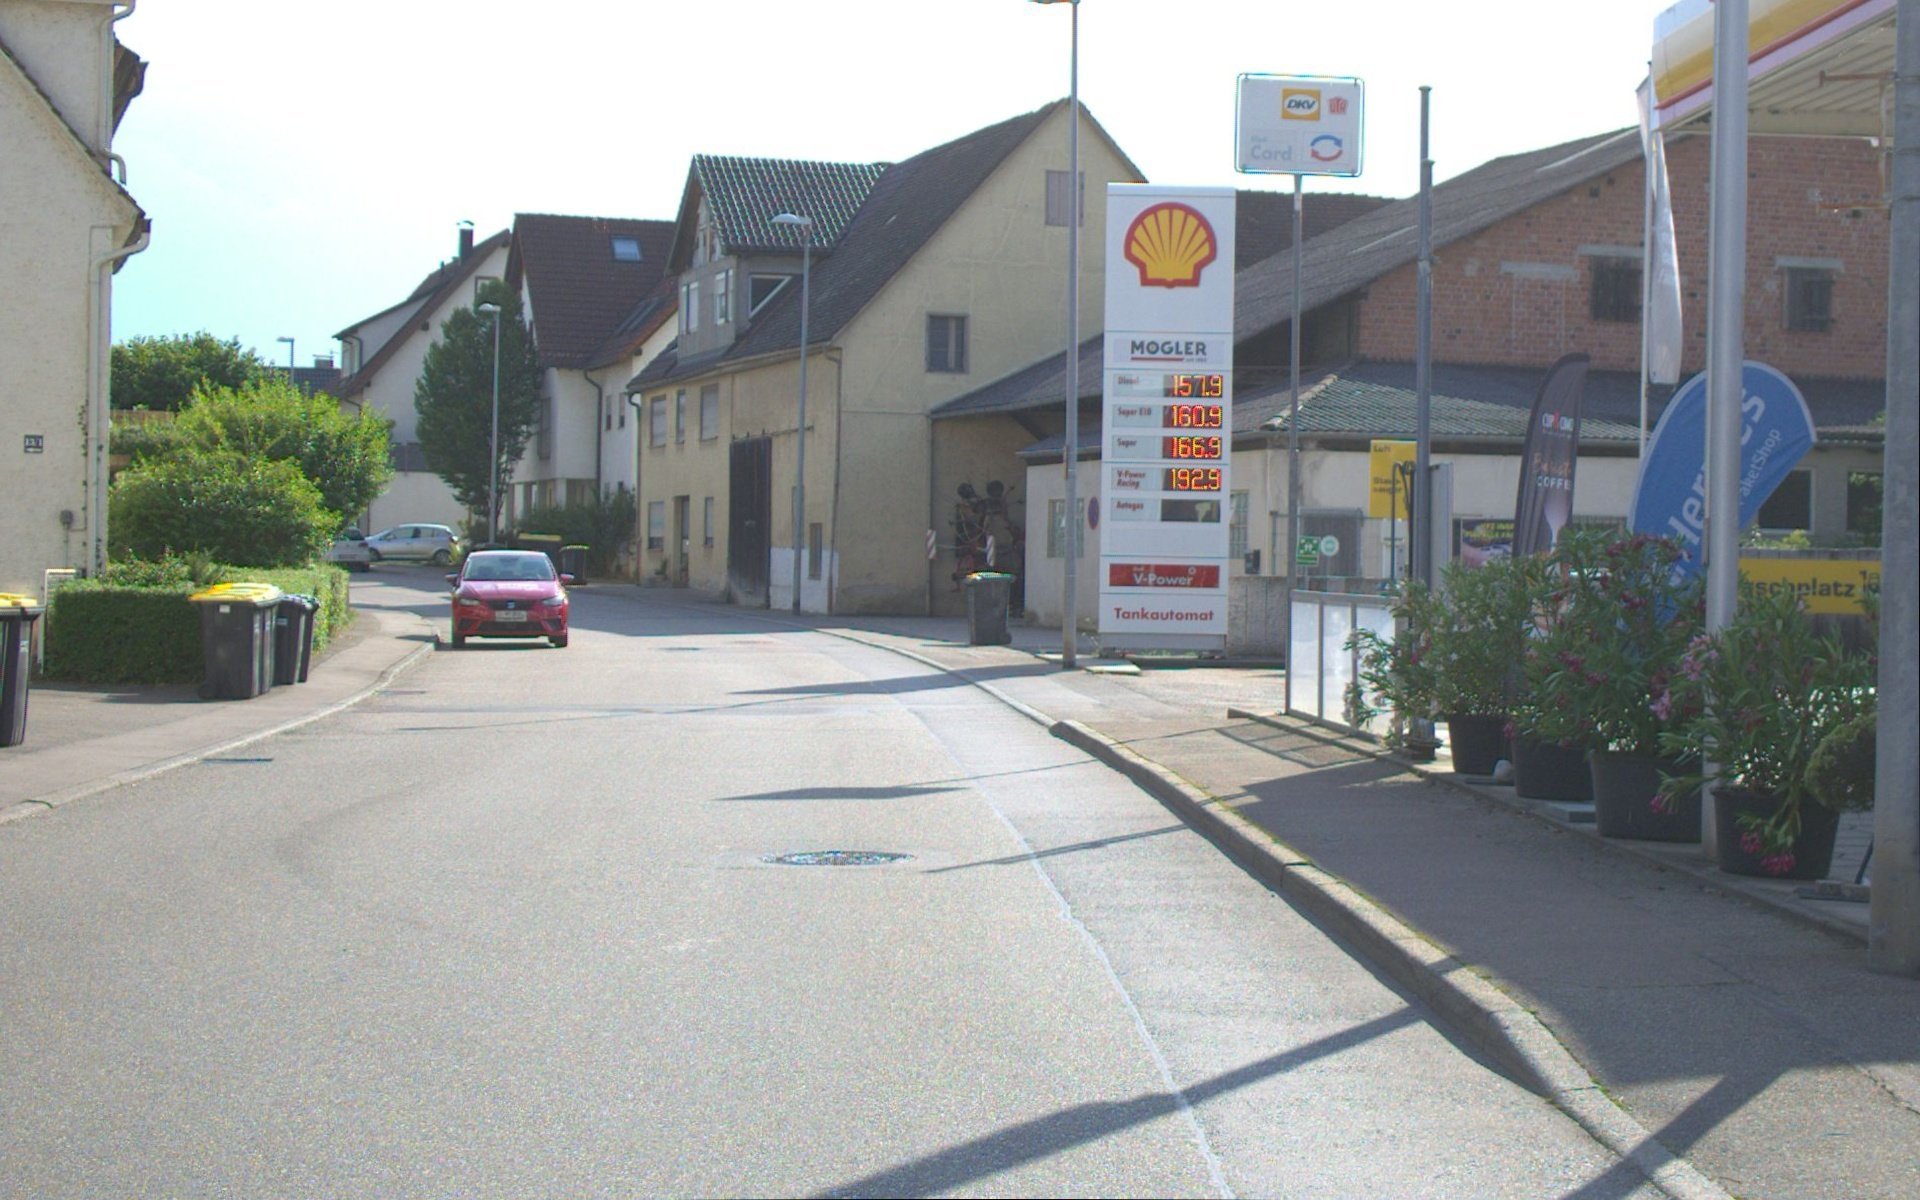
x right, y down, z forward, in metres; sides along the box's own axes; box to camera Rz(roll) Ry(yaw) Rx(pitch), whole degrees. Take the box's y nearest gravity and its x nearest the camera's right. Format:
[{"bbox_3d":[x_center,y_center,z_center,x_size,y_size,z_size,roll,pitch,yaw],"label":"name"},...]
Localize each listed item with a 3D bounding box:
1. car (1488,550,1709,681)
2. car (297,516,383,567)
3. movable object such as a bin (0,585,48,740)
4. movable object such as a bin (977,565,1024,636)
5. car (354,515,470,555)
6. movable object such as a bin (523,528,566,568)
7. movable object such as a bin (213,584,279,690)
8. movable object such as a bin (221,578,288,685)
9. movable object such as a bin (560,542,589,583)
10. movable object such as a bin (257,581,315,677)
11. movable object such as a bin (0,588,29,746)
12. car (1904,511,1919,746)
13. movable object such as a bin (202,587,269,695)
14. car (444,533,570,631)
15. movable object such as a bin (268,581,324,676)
[{"bbox_3d":[7.665,0.145,41.669,1.578,1.422,4.382,2,1,-3],"label":"car"},{"bbox_3d":[-20.147,-1.911,111.596,1.704,1.573,4.001,1,1,-26],"label":"car"},{"bbox_3d":[-6.881,0.432,24.482,0.570,1.067,0.557,4,1,-2],"label":"movable object such as a bin"},{"bbox_3d":[0.614,0.007,52.436,0.653,1.070,0.513,1,1,-5],"label":"movable object such as a bin"},{"bbox_3d":[-19.341,-2.293,121.212,3.986,1.348,1.711,1,1,-10],"label":"car"},{"bbox_3d":[-12.204,-1.529,100.921,1.160,1.164,0.655,1,1,-14],"label":"movable object such as a bin"},{"bbox_3d":[-7.442,0.379,35.847,0.588,1.080,0.530,-1,1,-2],"label":"movable object such as a bin"},{"bbox_3d":[-7.483,0.330,36.467,0.588,1.118,0.617,-1,1,-2],"label":"movable object such as a bin"},{"bbox_3d":[-10.220,-0.988,91.211,0.652,1.070,0.513,1,1,-18],"label":"movable object such as a bin"},{"bbox_3d":[-7.264,0.307,37.059,0.531,1.019,0.457,-1,1,-2],"label":"movable object such as a bin"},{"bbox_3d":[-6.869,0.445,23.856,0.599,1.067,0.619,4,1,-2],"label":"movable object such as a bin"},{"bbox_3d":[7.321,0.232,21.353,1.671,1.572,3.999,1,1,-2],"label":"car"},{"bbox_3d":[-7.415,0.418,35.198,0.588,1.080,0.508,-1,1,-2],"label":"movable object such as a bin"},{"bbox_3d":[-6.967,-0.286,52.584,1.708,1.430,3.781,-1,1,-10],"label":"car"},{"bbox_3d":[-7.249,0.312,37.548,0.531,1.019,0.457,-1,1,-2],"label":"movable object such as a bin"}]
